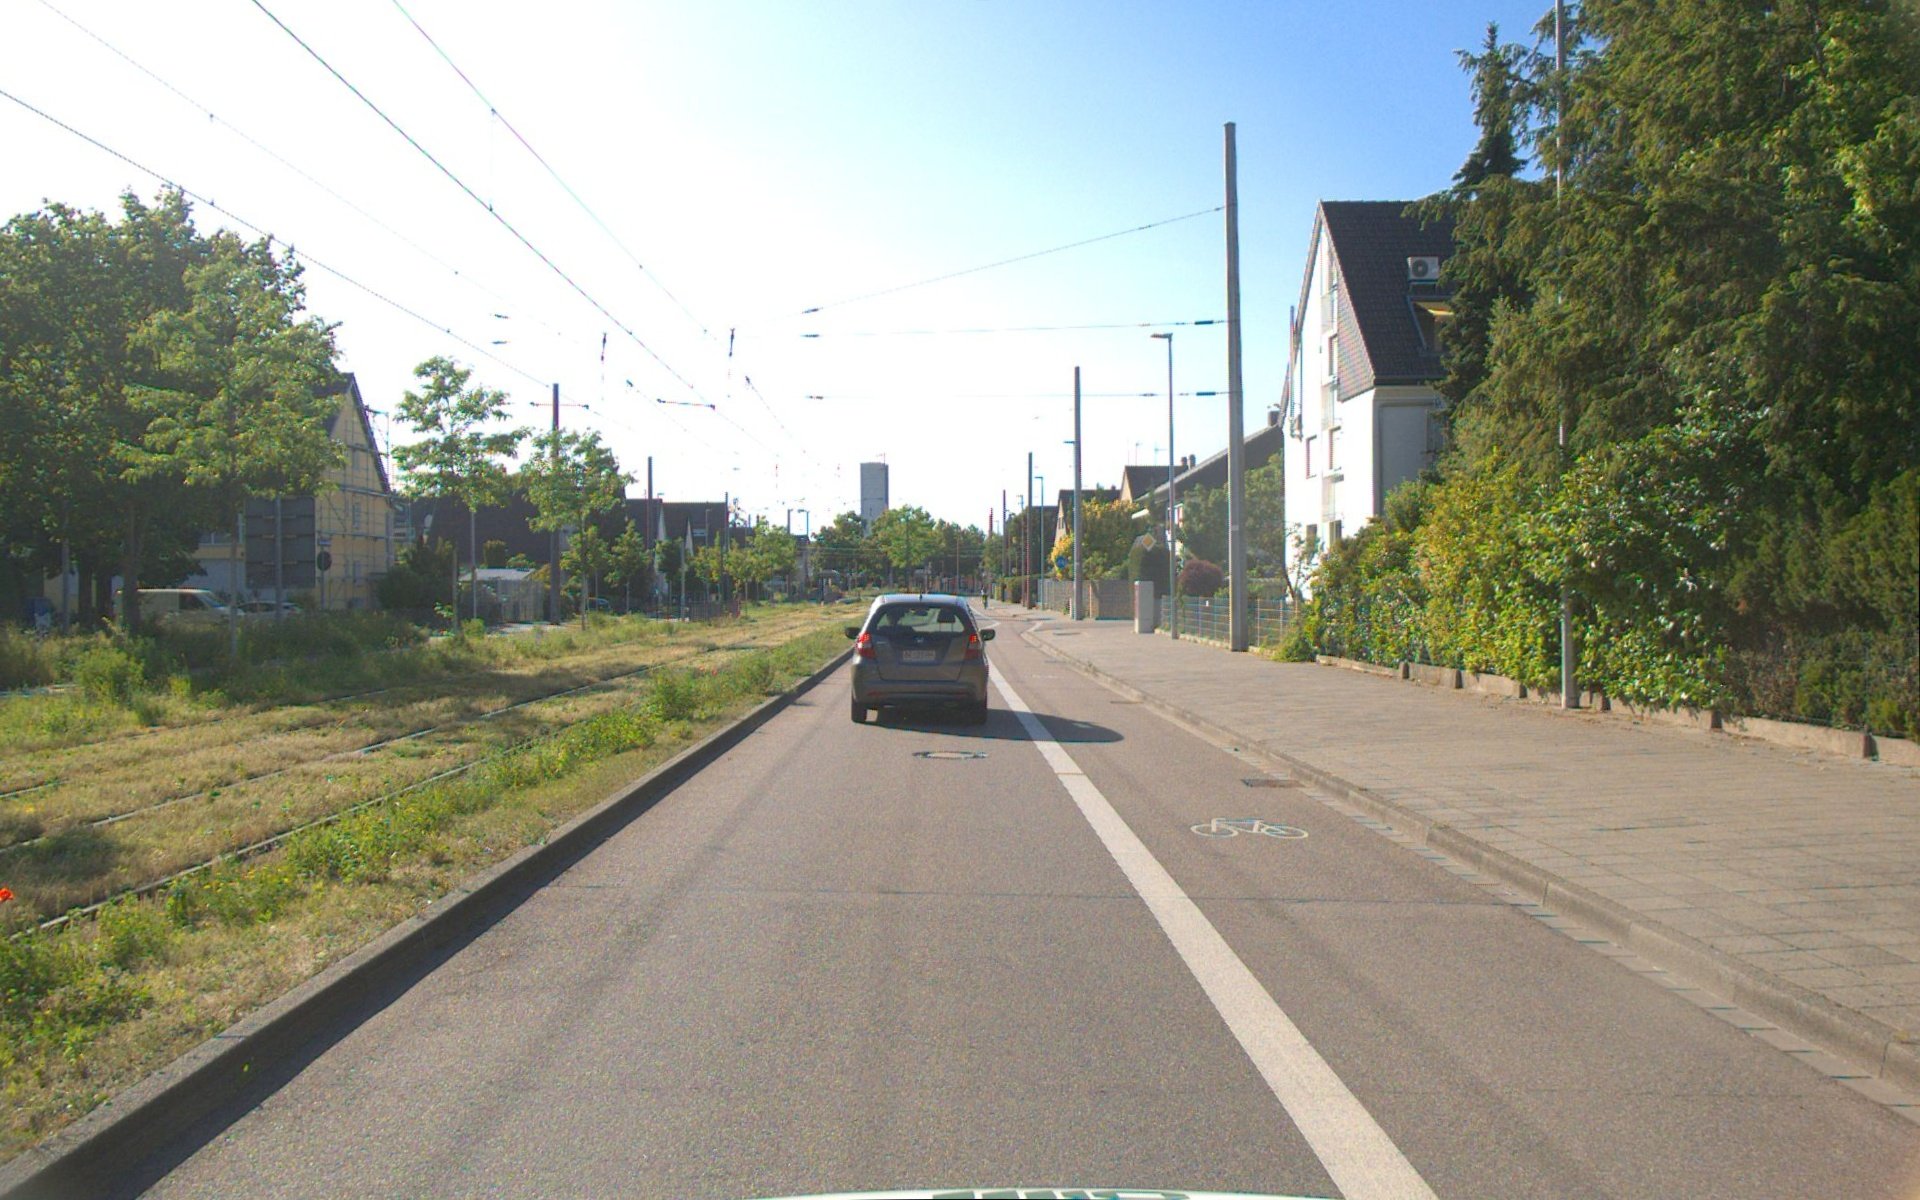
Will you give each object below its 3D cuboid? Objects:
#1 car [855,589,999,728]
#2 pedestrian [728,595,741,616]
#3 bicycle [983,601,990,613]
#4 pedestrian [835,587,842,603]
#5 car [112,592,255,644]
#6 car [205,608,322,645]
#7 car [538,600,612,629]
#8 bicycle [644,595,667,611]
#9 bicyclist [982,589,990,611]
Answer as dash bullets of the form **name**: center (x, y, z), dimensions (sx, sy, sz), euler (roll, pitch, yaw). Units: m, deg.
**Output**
- **car**: center (-0.450, 0.691, 20.876), dimensions (1.637, 1.562, 3.485), euler (1, -1, -2)
- **pedestrian**: center (-18.223, 0.426, 133.545), dimensions (0.945, 1.669, 1.085), euler (0, 0, -1)
- **bicycle**: center (2.133, 0.542, 132.248), dimensions (0.465, 0.978, 1.657), euler (1, -1, 0)
- **pedestrian**: center (-11.752, -0.450, 159.936), dimensions (0.662, 1.562, 0.748), euler (0, 0, -5)
- **car**: center (-29.912, 0.678, 63.832), dimensions (4.591, 1.948, 1.903), euler (0, 0, -1)
- **car**: center (-28.080, 1.080, 66.740), dimensions (3.906, 1.428, 1.852), euler (-1, -2, -2)
- **car**: center (-23.872, 0.893, 102.686), dimensions (4.461, 1.765, 2.046), euler (-1, 0, -13)
- **bicycle**: center (-27.326, 0.294, 148.436), dimensions (1.951, 1.389, 0.704), euler (0, 0, -8)
- **bicyclist**: center (2.107, -0.030, 132.127), dimensions (0.586, 1.731, 0.683), euler (1, -1, -1)
